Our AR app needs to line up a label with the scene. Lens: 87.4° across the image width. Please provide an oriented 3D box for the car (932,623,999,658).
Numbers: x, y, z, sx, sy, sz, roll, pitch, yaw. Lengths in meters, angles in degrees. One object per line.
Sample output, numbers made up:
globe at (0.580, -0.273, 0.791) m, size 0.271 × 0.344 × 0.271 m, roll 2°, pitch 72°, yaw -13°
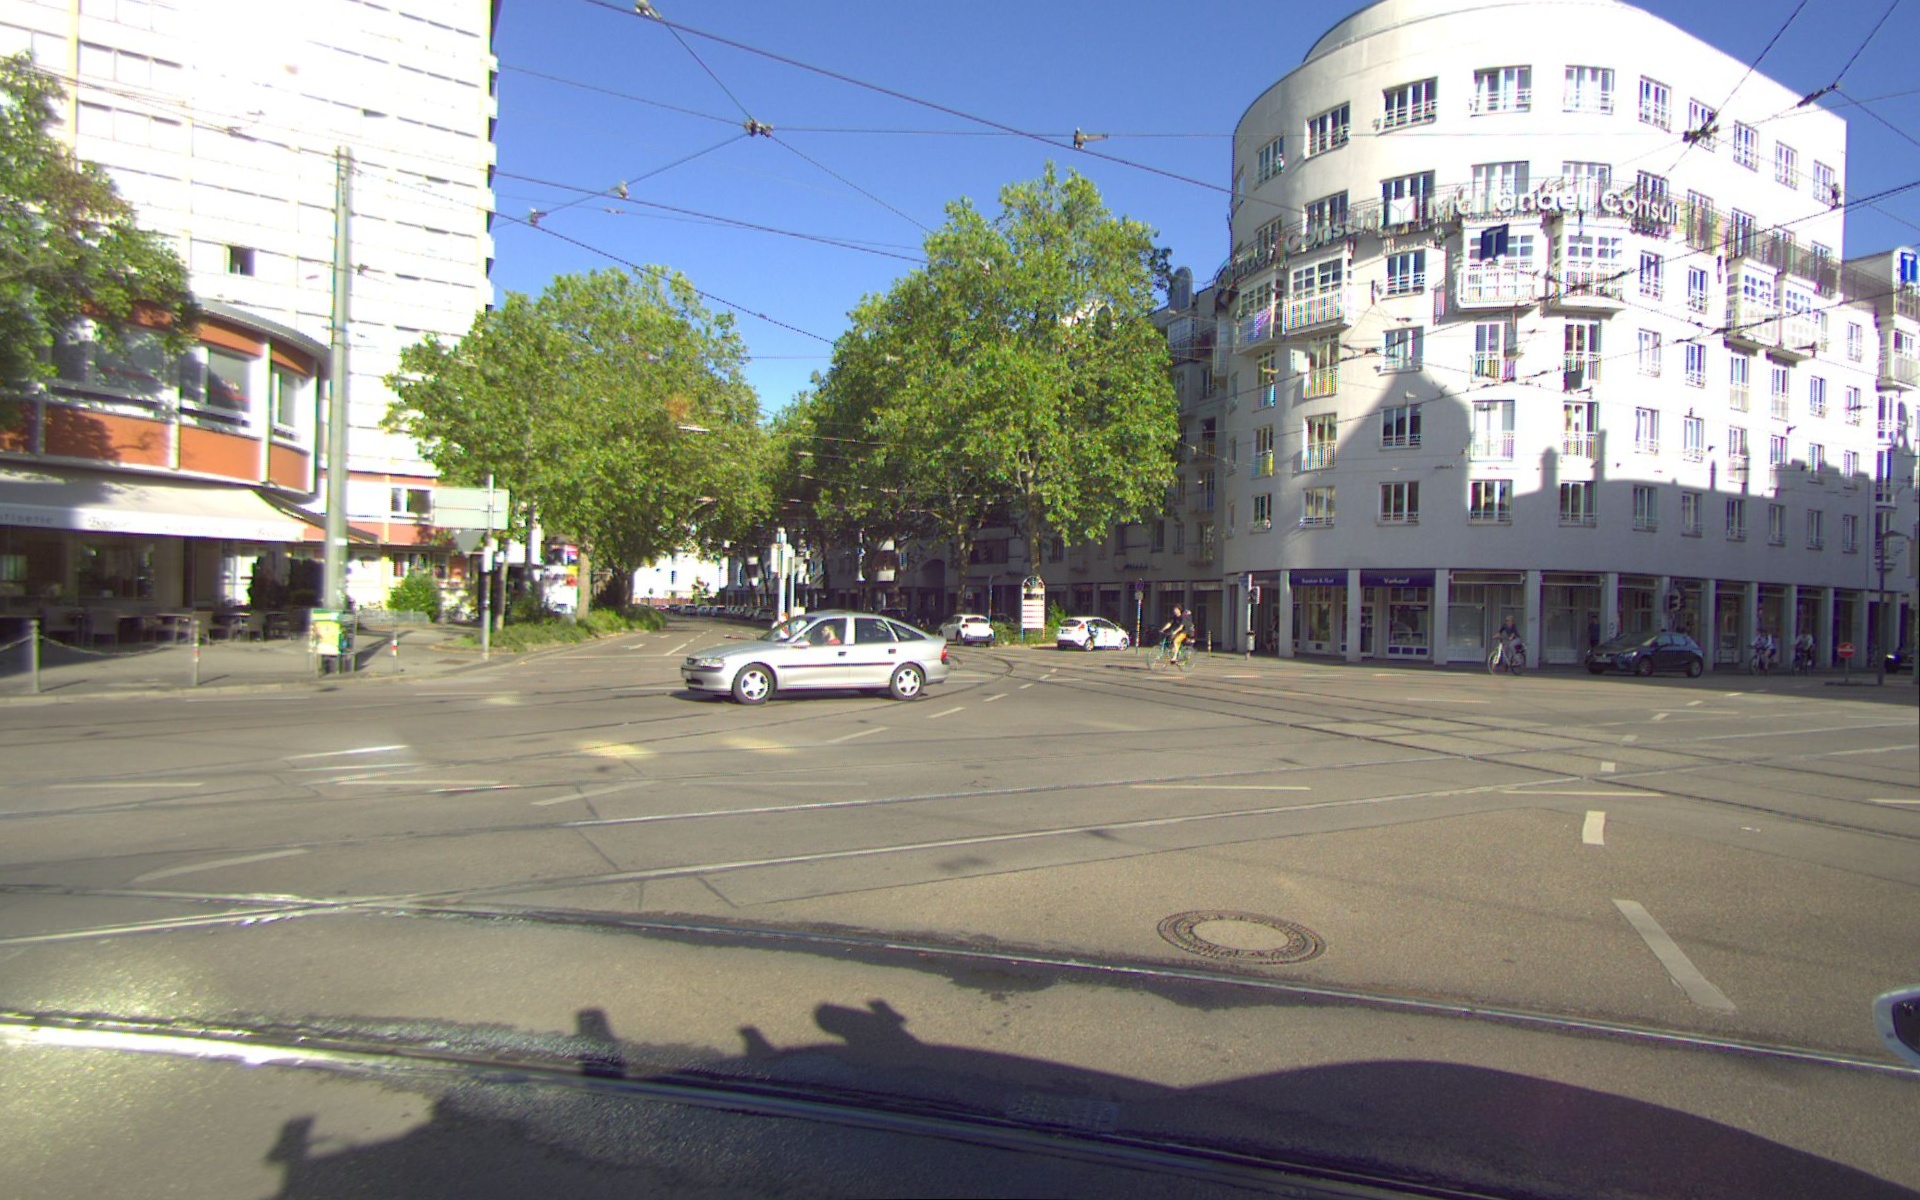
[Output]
car at (0.216, 1.907, 48.624) m, size 1.778 × 1.422 × 3.984 m, roll -2°, pitch 1°, yaw -24°

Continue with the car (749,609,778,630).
car at (-20.167, 1.990, 103.186) m, size 1.974 × 2.040 × 3.974 m, roll 1°, pitch -1°, yaw -26°

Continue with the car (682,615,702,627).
car at (-39.666, 3.137, 148.564) m, size 1.975 × 1.739 × 3.971 m, roll 1°, pitch -1°, yaw -28°

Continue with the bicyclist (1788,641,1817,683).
bicyclist at (33.005, 2.414, 39.360) m, size 0.885 × 1.606 × 0.586 m, roll 1°, pitch -1°, yaw -30°

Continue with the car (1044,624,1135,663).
car at (5.792, 1.880, 44.563) m, size 4.070 × 1.422 × 1.781 m, roll -2°, pitch 2°, yaw -42°

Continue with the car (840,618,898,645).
car at (-6.747, 2.314, 74.758) m, size 3.953 × 1.907 × 1.808 m, roll 0°, pitch 0°, yaw -31°

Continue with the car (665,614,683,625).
car at (-46.882, 3.243, 164.382) m, size 1.976 × 1.739 × 3.969 m, roll 1°, pitch -1°, yaw -29°

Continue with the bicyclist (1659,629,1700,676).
bicyclist at (27.220, 1.978, 38.000) m, size 1.009 × 1.718 × 0.724 m, roll 1°, pitch 0°, yaw 0°

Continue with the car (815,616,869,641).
car at (-9.377, 2.230, 79.928) m, size 3.953 × 1.907 × 1.808 m, roll 0°, pitch 0°, yaw -31°

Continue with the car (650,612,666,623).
car at (-52.184, 2.998, 173.566) m, size 1.976 × 1.739 × 3.970 m, roll 1°, pitch -1°, yaw -29°

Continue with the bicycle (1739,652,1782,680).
bicycle at (29.718, 2.455, 37.279) m, size 1.988 × 0.985 × 0.591 m, roll 2°, pitch -1°, yaw -31°

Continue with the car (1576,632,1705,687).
car at (22.057, 1.888, 32.540) m, size 3.953 × 1.617 × 1.984 m, roll 2°, pitch -1°, yaw -30°

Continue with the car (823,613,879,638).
car at (-8.458, 1.957, 77.951) m, size 3.953 × 1.907 × 1.808 m, roll 0°, pitch 0°, yaw -31°

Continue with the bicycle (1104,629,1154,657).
bicycle at (8.493, 2.138, 50.564) m, size 0.593 × 1.251 × 2.864 m, roll -2°, pitch 1°, yaw -36°

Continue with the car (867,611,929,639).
car at (-4.286, 1.707, 69.840) m, size 3.953 × 1.907 × 1.808 m, roll 0°, pitch 0°, yaw -31°

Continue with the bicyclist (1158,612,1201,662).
bicyclist at (5.779, 0.968, 26.454) m, size 0.915 × 1.302 × 0.586 m, roll 1°, pitch -1°, yaw -28°

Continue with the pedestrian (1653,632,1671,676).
pedestrian at (25.593, 1.960, 36.621) m, size 0.434 × 1.555 × 0.683 m, roll 0°, pitch 1°, yaw 25°

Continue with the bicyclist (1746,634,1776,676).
bicyclist at (29.756, 2.041, 37.319) m, size 0.917 × 1.508 × 0.585 m, roll 1°, pitch -1°, yaw -30°

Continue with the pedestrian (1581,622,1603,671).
pedestrian at (24.580, 1.786, 39.075) m, size 0.737 × 1.857 × 0.458 m, roll -1°, pitch 2°, yaw -30°

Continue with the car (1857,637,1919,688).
car at (40.292, 2.591, 42.451) m, size 4.553 × 1.936 × 2.217 m, roll 1°, pitch 0°, yaw -29°

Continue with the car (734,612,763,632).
car at (-23.010, 2.377, 109.128) m, size 1.975 × 2.040 × 3.971 m, roll 1°, pitch -1°, yaw -28°

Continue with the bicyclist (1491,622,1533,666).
bicyclist at (16.664, 1.315, 30.343) m, size 0.976 × 1.302 × 0.588 m, roll 1°, pitch 0°, yaw -17°

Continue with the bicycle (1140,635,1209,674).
bicycle at (5.642, 1.421, 26.377) m, size 1.795 × 0.985 × 0.591 m, roll 2°, pitch -1°, yaw -28°

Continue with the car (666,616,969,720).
car at (-2.315, 1.023, 16.613) m, size 4.594 × 1.471 × 1.984 m, roll 0°, pitch 0°, yaw -30°

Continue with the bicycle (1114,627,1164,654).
bicycle at (9.070, 2.041, 51.061) m, size 0.593 × 1.251 × 2.864 m, roll -2°, pitch 1°, yaw -36°

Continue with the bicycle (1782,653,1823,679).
bicycle at (33.014, 2.583, 39.362) m, size 2.023 × 0.985 × 0.591 m, roll 2°, pitch -1°, yaw -31°

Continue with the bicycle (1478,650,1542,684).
bicycle at (16.616, 2.015, 30.325) m, size 1.825 × 0.985 × 0.593 m, roll 1°, pitch -1°, yaw -18°

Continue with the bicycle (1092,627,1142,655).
bicycle at (7.813, 2.046, 50.020) m, size 0.593 × 1.251 × 2.864 m, roll -2°, pitch 1°, yaw -36°

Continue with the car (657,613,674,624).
car at (-49.657, 3.164, 169.253) m, size 1.977 × 1.739 × 3.968 m, roll 1°, pitch -1°, yaw -30°

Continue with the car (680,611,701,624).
car at (-37.200, 2.388, 138.520) m, size 1.974 × 1.739 × 3.972 m, roll 1°, pitch -1°, yaw -27°
